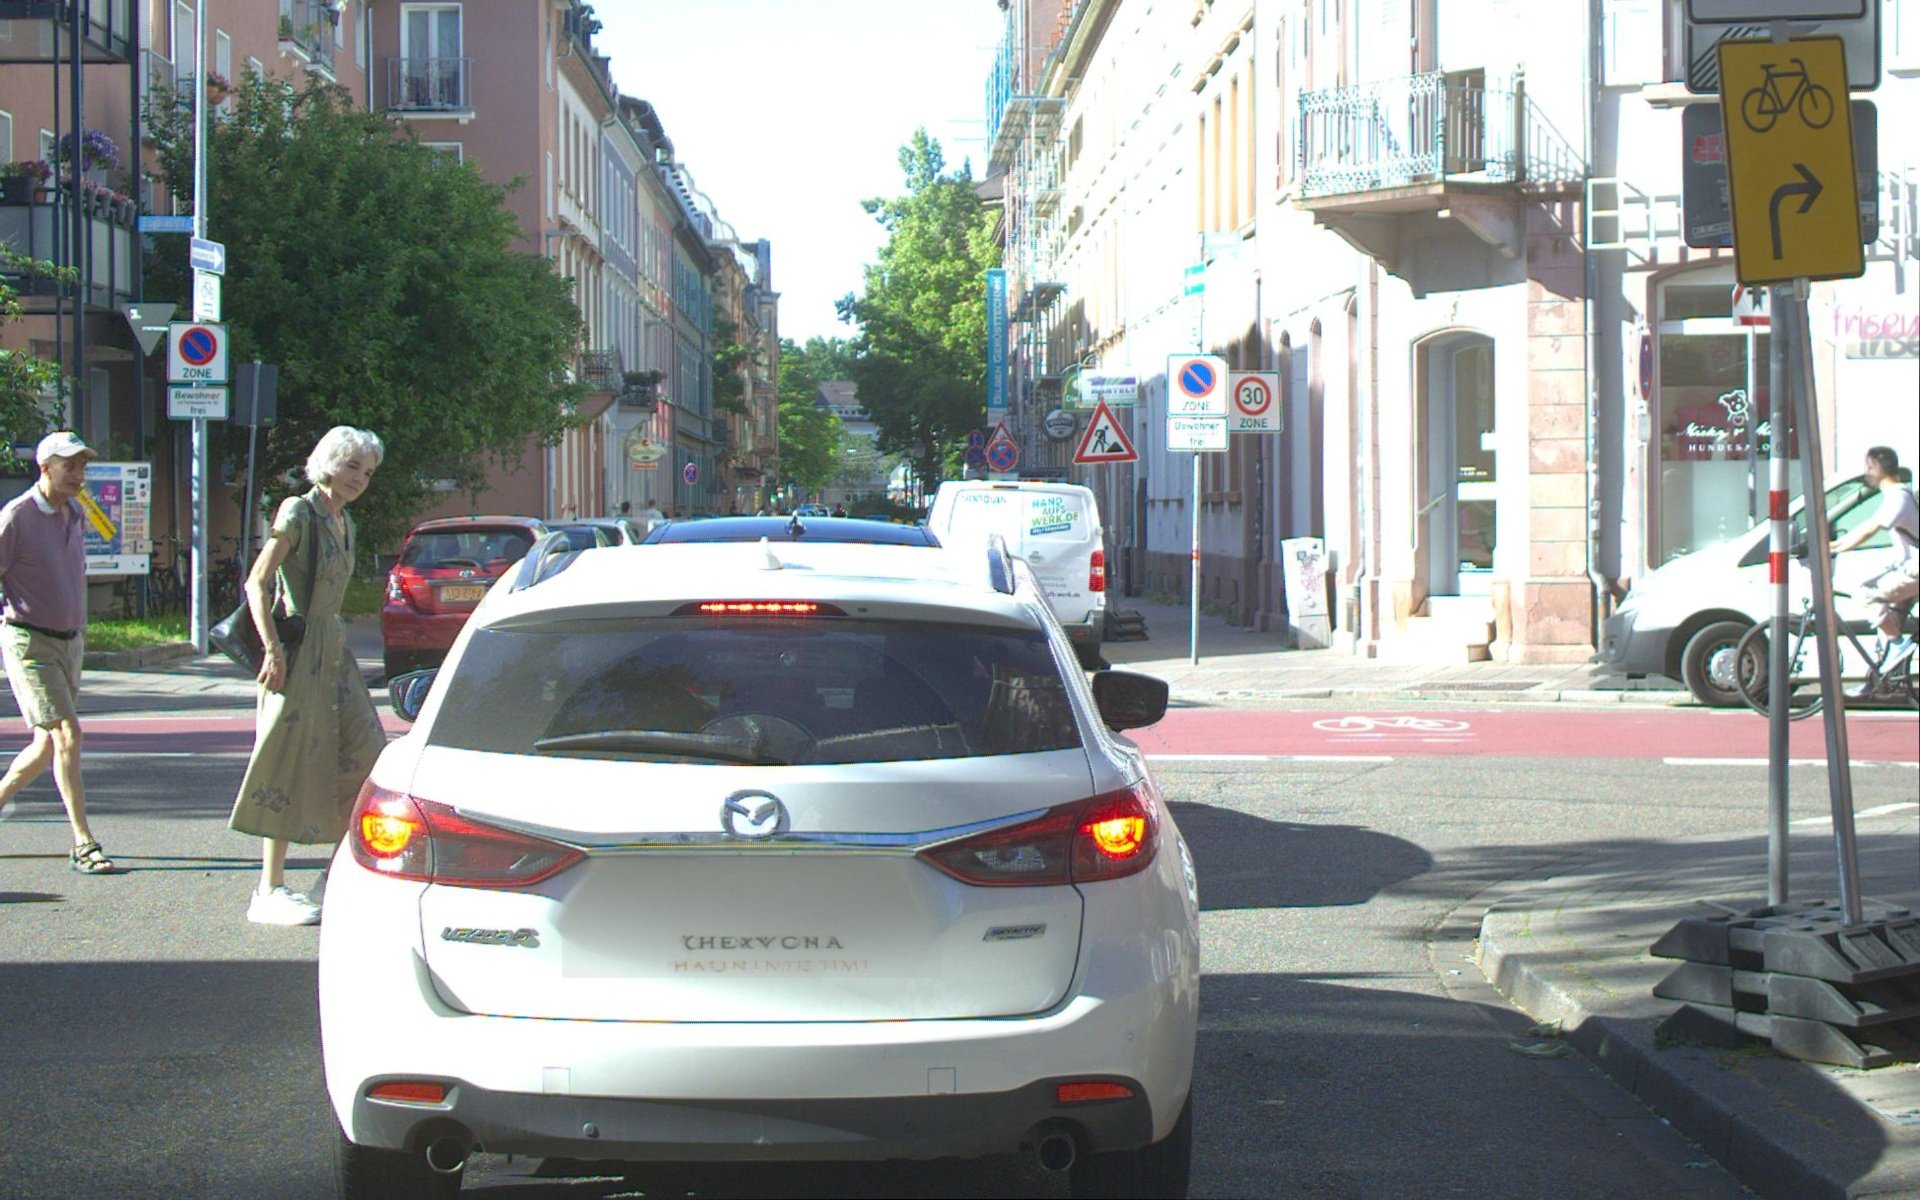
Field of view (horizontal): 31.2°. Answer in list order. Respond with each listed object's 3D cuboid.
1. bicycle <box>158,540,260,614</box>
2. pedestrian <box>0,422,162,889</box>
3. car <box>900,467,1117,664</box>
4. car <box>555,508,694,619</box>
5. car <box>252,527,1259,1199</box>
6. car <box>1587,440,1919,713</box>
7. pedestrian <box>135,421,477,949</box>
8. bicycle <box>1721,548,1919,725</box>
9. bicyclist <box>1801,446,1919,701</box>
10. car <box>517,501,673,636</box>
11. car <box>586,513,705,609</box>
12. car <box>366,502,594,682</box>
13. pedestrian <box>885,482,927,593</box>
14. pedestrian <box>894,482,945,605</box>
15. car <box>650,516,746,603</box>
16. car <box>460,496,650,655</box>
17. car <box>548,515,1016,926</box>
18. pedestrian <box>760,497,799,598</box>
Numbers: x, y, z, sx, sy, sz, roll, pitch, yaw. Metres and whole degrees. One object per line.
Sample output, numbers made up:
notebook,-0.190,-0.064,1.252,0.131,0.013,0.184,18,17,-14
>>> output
bicycle,-9.657,-0.295,44.179,0.603,0.929,1.915,-1,1,-34
pedestrian,-3.848,0.192,14.008,0.968,1.832,0.681,2,3,34
car,0.451,-0.391,36.271,1.942,1.941,4.079,1,1,-4
car,-4.923,-0.543,50.868,1.720,1.571,3.726,-1,1,-1
car,-0.438,0.595,8.163,1.823,1.509,3.824,0,1,-2
car,7.233,-0.152,25.060,4.895,1.922,1.997,1,0,23
pedestrian,-2.337,0.270,12.342,0.854,1.808,0.814,1,3,26
bicycle,6.012,0.231,22.487,2.009,1.140,0.683,0,1,13
bicyclist,6.070,-0.175,22.487,1.091,1.638,0.756,0,1,14
car,-4.632,-0.409,44.086,1.635,1.650,3.785,0,1,-1
car,-4.986,-0.625,54.880,1.602,1.472,3.567,-1,1,-1
car,-4.539,-0.126,32.975,1.769,1.583,3.727,-1,2,-2
pedestrian,-1.040,-1.204,66.235,0.771,2.111,0.835,-1,1,0
pedestrian,-0.630,-0.890,53.907,0.771,1.912,0.835,-1,1,0
car,-4.946,-0.768,65.191,1.572,1.580,3.611,-1,1,-1
car,-4.490,-0.298,38.574,1.720,1.677,3.726,-1,1,-1
car,-0.710,0.392,14.303,1.682,1.476,3.661,-1,1,-2
pedestrian,-3.227,-0.940,61.559,0.647,1.791,0.639,-1,1,0
